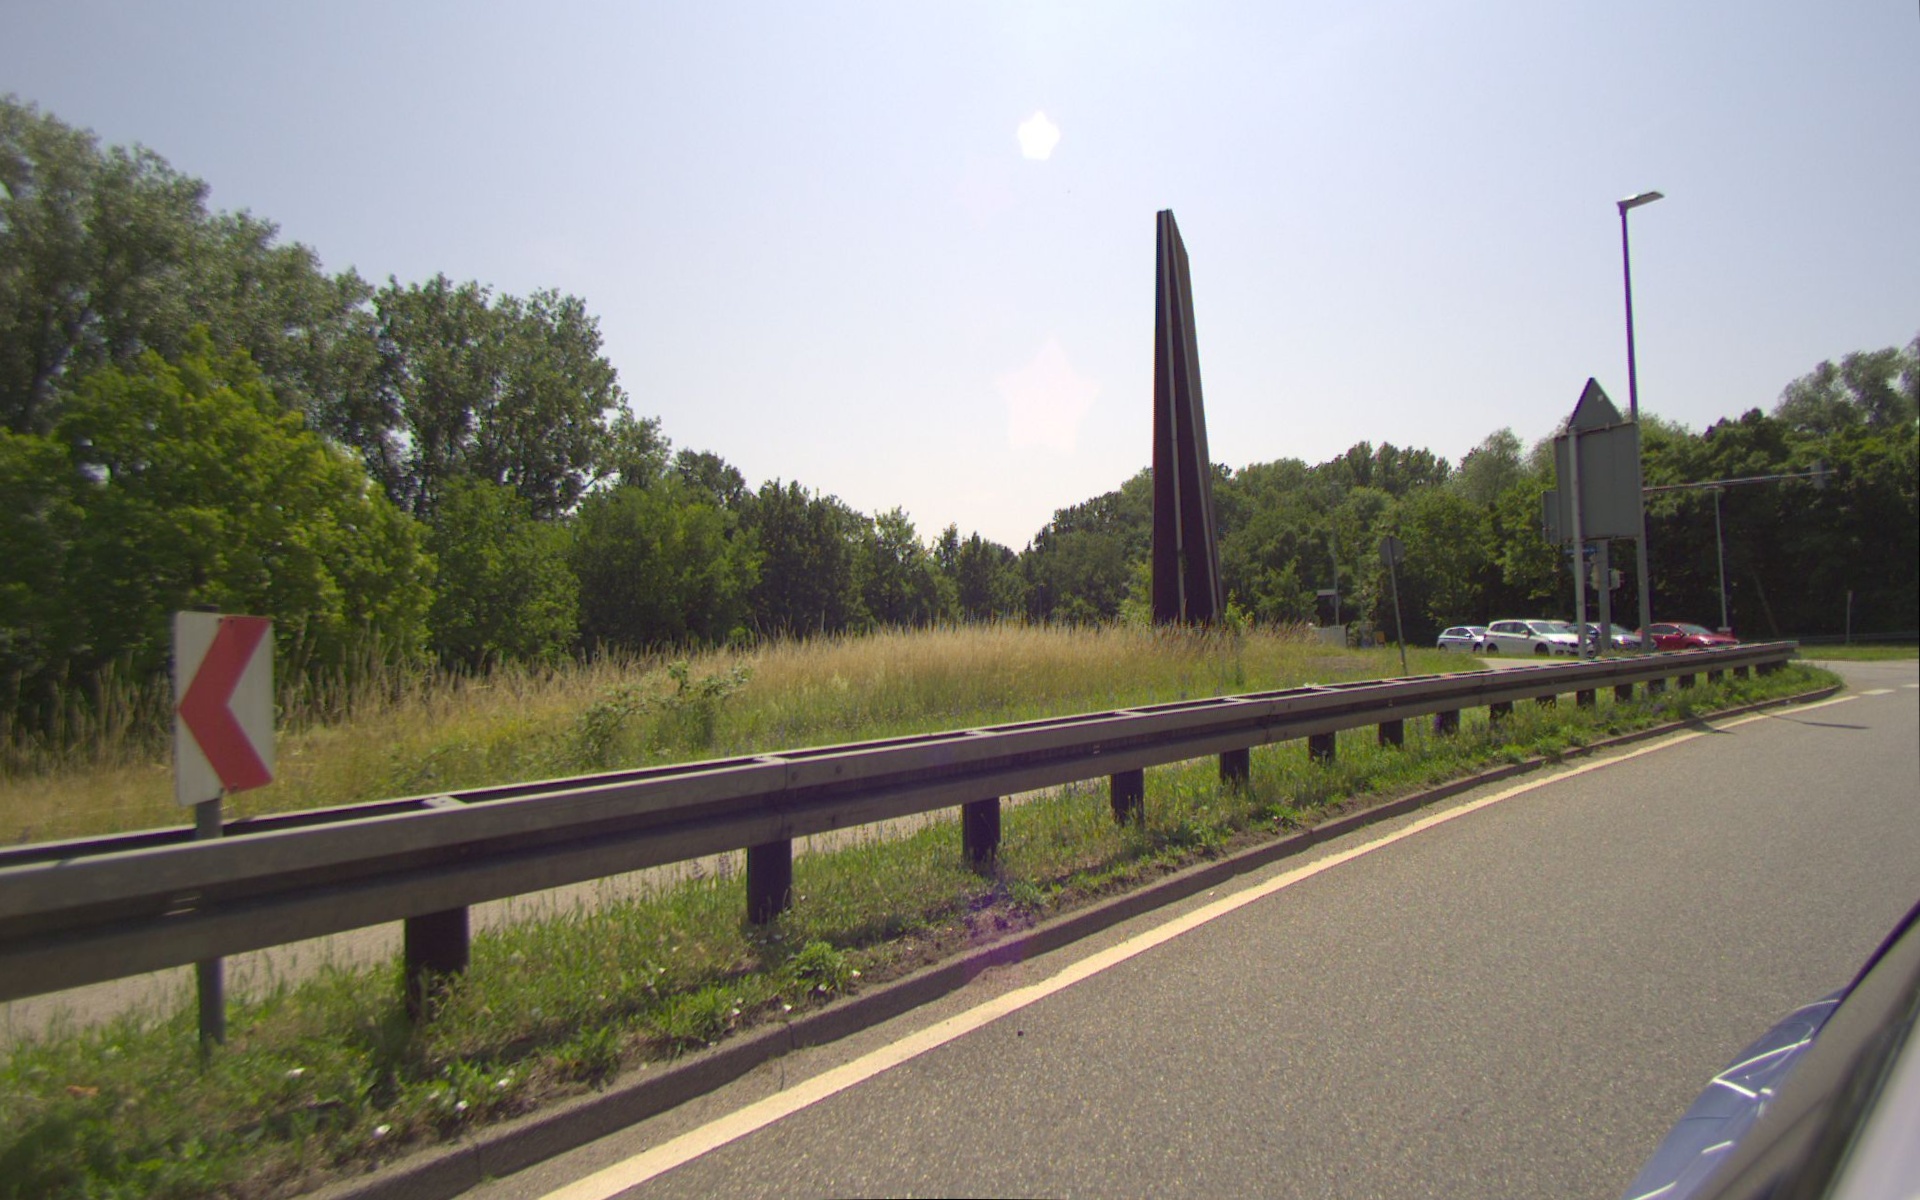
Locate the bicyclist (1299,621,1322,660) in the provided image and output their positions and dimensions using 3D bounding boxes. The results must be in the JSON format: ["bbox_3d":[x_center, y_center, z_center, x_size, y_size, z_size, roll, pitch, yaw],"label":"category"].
[{"bbox_3d":[14.706,1.705,42.462,0.657,1.619,0.692,-1,-2,-4],"label":"bicyclist"}]

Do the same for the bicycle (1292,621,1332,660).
[{"bbox_3d":[14.702,1.678,42.340,0.643,1.594,2.375,-1,-1,-4],"label":"bicycle"}]

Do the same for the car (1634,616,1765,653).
[{"bbox_3d":[29.207,1.340,40.132,1.719,1.372,4.191,0,-1,-8],"label":"car"}]

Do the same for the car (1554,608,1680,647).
[{"bbox_3d":[25.862,1.084,40.006,1.830,1.442,4.191,0,-1,-8],"label":"car"}]

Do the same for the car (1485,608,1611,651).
[{"bbox_3d":[22.321,1.110,38.633,1.830,1.525,4.302,0,-1,-8],"label":"car"}]

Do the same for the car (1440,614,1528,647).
[{"bbox_3d":[24.314,1.415,47.149,1.550,1.448,4.005,0,-1,-8],"label":"car"}]
